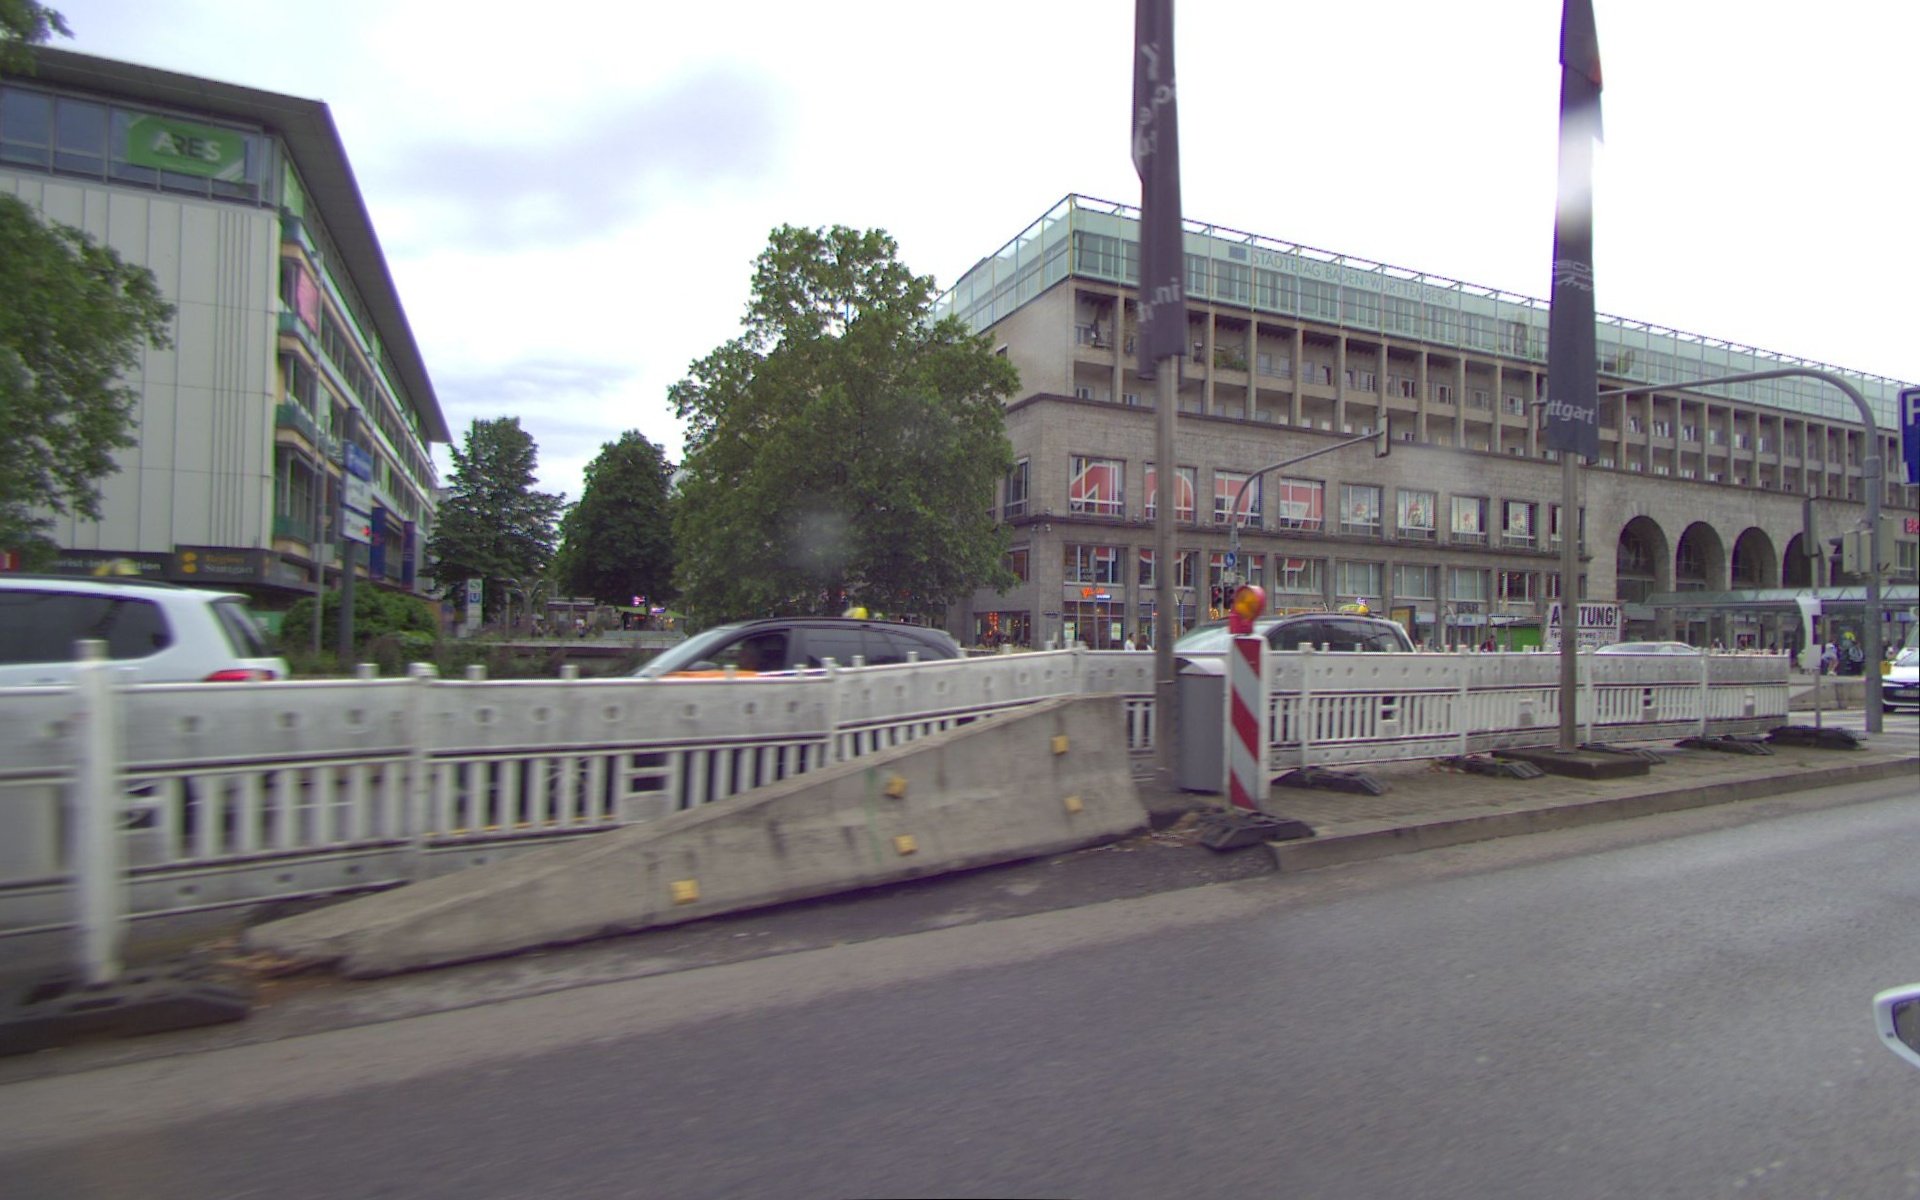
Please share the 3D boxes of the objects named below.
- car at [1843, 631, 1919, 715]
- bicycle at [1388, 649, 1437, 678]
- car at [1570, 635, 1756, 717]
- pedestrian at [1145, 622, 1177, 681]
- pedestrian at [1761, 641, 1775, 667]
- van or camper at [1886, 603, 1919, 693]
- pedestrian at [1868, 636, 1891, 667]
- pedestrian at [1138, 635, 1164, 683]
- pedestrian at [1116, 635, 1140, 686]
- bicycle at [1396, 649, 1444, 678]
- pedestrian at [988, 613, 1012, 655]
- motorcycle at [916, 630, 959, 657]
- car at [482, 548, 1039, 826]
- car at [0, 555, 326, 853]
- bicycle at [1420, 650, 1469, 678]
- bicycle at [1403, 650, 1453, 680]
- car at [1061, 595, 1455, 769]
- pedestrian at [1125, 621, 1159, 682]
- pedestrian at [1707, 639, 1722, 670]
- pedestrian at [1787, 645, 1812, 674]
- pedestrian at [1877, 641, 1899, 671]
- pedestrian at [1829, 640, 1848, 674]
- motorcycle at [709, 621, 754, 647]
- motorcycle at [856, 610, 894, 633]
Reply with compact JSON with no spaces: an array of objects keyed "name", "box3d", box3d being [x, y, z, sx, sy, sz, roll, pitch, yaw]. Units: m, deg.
[{"name":"car","box3d":[20.836,1.485,21.025,4.781,1.642,2.007,1,-1,-28]},{"name":"bicycle","box3d":[21.924,3.056,48.685,0.586,1.343,2.193,2,-1,-34]},{"name":"car","box3d":[15.702,1.626,22.422,3.994,1.632,1.806,1,0,-28]},{"name":"pedestrian","box3d":[5.954,1.536,29.732,0.553,1.707,0.747,1,-4,-28]},{"name":"pedestrian","box3d":[45.058,2.990,56.026,0.548,1.411,0.477,1,0,35]},{"name":"van or camper","box3d":[29.706,1.403,29.468,5.302,2.546,1.987,1,-4,-28]},{"name":"pedestrian","box3d":[44.190,2.464,48.288,0.695,1.411,0.701,1,0,35]},{"name":"pedestrian","box3d":[6.333,1.959,33.321,0.747,1.592,0.470,3,-5,-44]},{"name":"pedestrian","box3d":[5.591,2.022,33.450,0.522,1.663,0.606,-4,-5,44]},{"name":"bicycle","box3d":[22.454,3.087,49.081,0.555,1.343,2.193,2,-1,-34]},{"name":"pedestrian","box3d":[1.947,1.645,49.296,0.812,2.040,0.871,1,-1,-32]},{"name":"motorcycle","box3d":[-0.930,1.764,40.926,1.696,1.060,0.528,2,-1,-29]},{"name":"car","box3d":[-1.699,0.629,8.857,4.467,1.923,1.895,1,0,-28]},{"name":"car","box3d":[-6.701,0.623,6.319,4.427,1.745,1.777,1,-2,-28]},{"name":"bicycle","box3d":[24.394,3.210,50.563,0.673,1.343,2.193,2,-1,-34]},{"name":"bicycle","box3d":[23.074,3.185,49.527,0.673,1.343,2.193,2,-1,-34]},{"name":"car","box3d":[3.574,0.848,11.911,4.444,1.722,1.895,1,0,-28]},{"name":"pedestrian","box3d":[5.320,1.489,29.352,0.650,1.708,0.595,1,4,-28]},{"name":"pedestrian","box3d":[35.587,2.575,47.377,0.548,1.411,0.477,1,0,35]},{"name":"pedestrian","box3d":[43.604,3.076,52.168,0.911,1.411,0.701,1,0,35]},{"name":"pedestrian","box3d":[46.454,2.795,50.271,0.695,1.411,0.701,1,0,35]},{"name":"pedestrian","box3d":[41.380,2.679,47.302,0.575,1.527,0.624,1,0,35]},{"name":"motorcycle","box3d":[-9.407,1.413,41.357,1.696,1.060,0.528,2,-1,-29]},{"name":"motorcycle","box3d":[-3.938,0.998,46.464,1.696,1.060,0.528,2,-1,-29]}]
